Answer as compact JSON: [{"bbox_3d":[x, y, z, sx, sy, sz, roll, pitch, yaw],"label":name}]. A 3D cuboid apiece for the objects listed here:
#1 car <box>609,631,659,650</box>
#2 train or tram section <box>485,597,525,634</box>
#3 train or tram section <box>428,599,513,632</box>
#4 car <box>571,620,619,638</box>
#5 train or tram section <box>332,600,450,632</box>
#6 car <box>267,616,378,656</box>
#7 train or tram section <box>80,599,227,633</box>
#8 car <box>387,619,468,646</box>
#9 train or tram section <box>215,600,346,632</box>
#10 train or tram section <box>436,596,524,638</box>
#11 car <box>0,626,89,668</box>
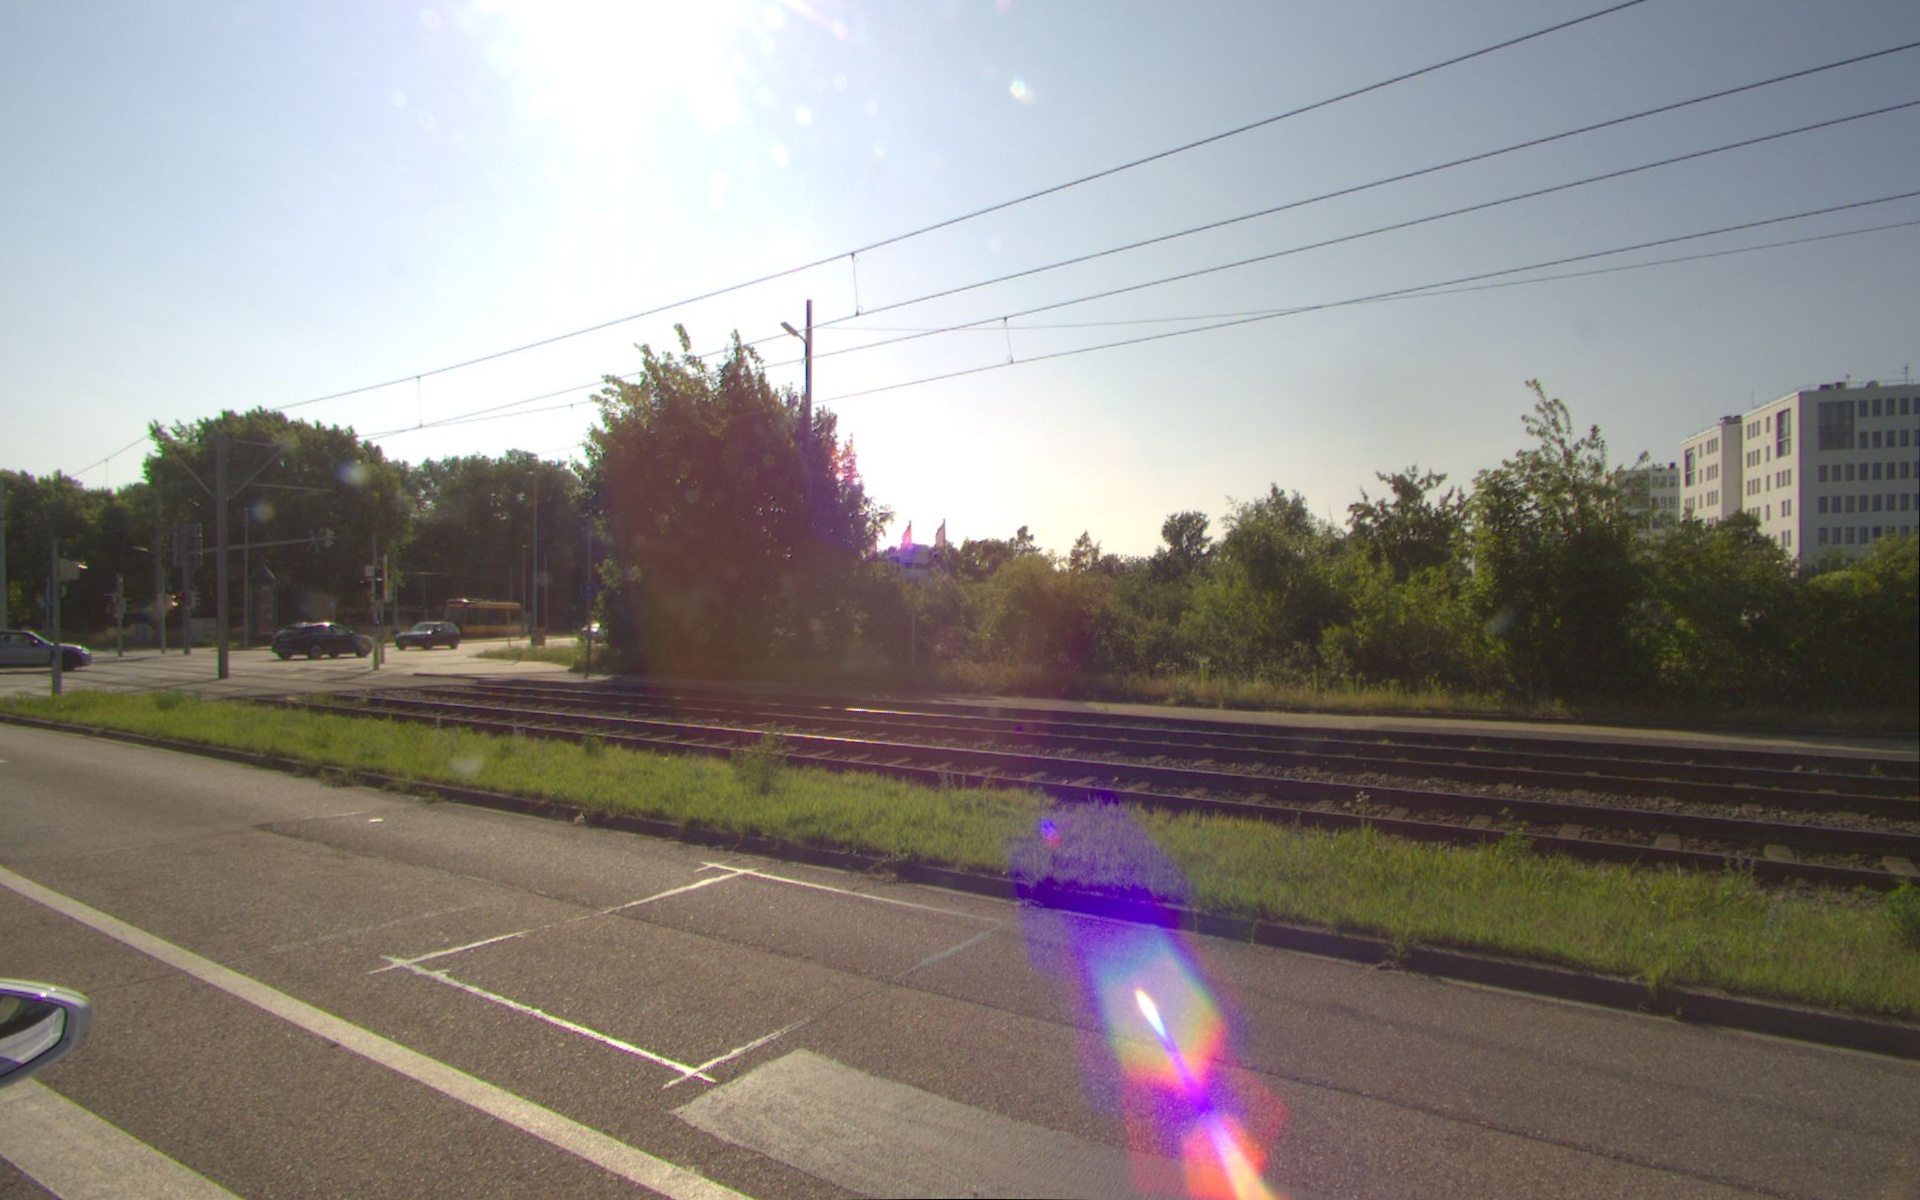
[{"bbox_3d":[-24.754,3.037,76.160,1.961,1.371,4.408,0,-1,6],"label":"car"},{"bbox_3d":[-47.650,1.637,104.600,3.009,3.626,12.174,0,-1,-28],"label":"train or tram section"},{"bbox_3d":[-55.559,1.757,113.431,12.061,3.626,3.037,-1,-1,34],"label":"train or tram section"},{"bbox_3d":[-28.170,2.236,77.479,1.961,1.371,4.410,0,-1,3],"label":"car"},{"bbox_3d":[-66.503,1.897,117.208,11.992,3.626,3.054,0,-1,-1],"label":"train or tram section"},{"bbox_3d":[-29.662,1.664,46.804,1.618,1.744,4.621,0,-1,12],"label":"car"},{"bbox_3d":[-88.979,1.772,110.790,12.249,3.626,3.041,0,-1,-27],"label":"train or tram section"},{"bbox_3d":[-31.886,1.932,60.117,2.005,1.583,4.863,0,-1,5],"label":"car"},{"bbox_3d":[-78.216,1.874,115.605,12.027,3.626,3.045,0,-1,-22],"label":"train or tram section"},{"bbox_3d":[-44.471,1.582,93.322,2.995,3.626,11.853,0,-1,-3],"label":"train or tram section"},{"bbox_3d":[-32.742,1.626,34.878,1.589,1.401,3.500,-1,-1,42],"label":"car"}]
